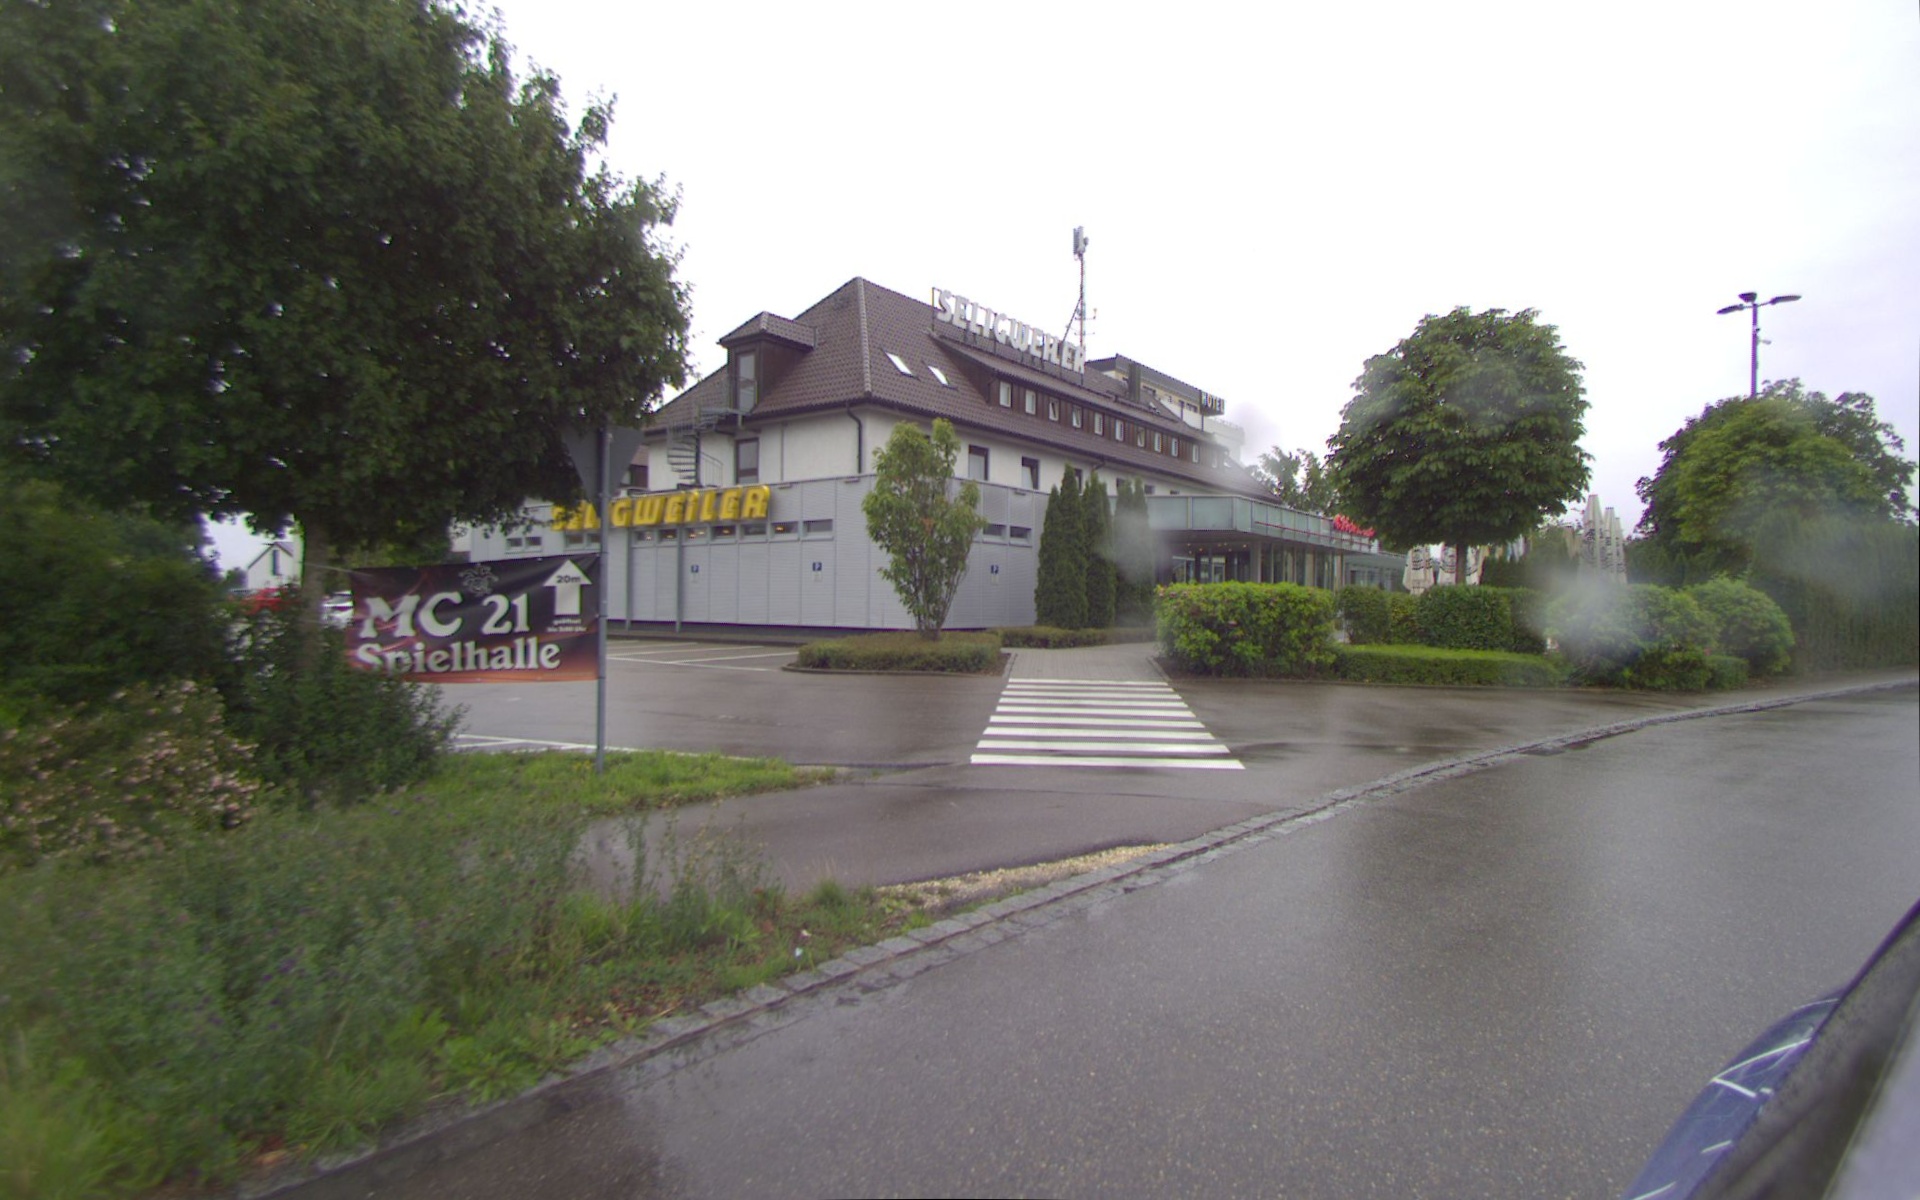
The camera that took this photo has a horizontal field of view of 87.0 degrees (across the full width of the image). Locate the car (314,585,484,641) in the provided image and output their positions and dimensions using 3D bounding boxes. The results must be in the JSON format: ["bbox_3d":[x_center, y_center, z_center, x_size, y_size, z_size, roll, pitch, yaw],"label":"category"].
[{"bbox_3d":[-16.749,0.324,30.378,1.707,1.516,4.135,0,1,36],"label":"car"}]
